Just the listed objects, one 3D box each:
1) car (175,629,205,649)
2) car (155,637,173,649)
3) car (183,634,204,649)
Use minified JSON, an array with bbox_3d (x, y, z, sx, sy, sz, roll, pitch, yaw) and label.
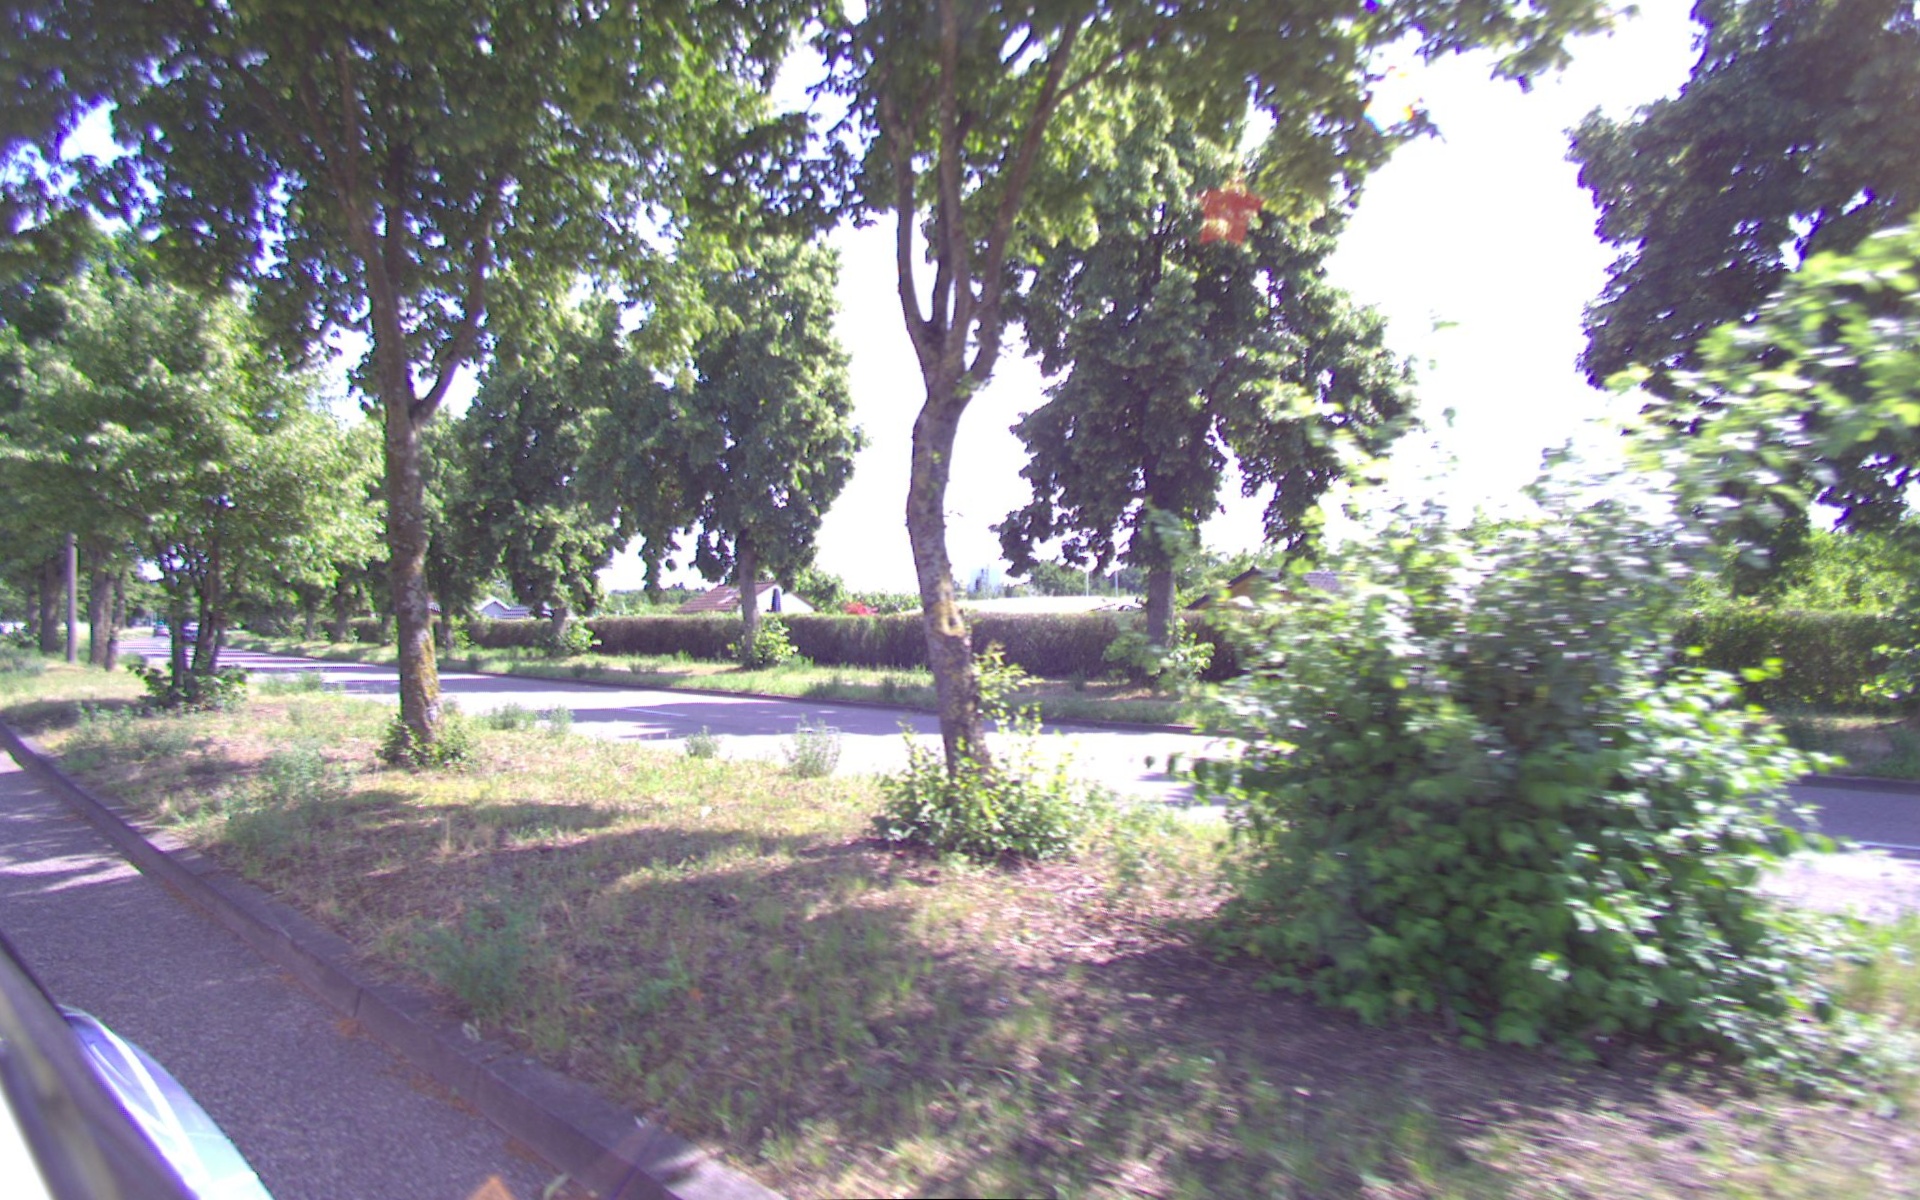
[{"bbox_3d":[-62.739,3.154,82.403,1.715,1.598,4.119,3,-3,-40],"label":"car"},{"bbox_3d":[-104.614,5.678,133.021,1.713,1.598,4.121,2,-3,-36],"label":"car"},{"bbox_3d":[-84.874,4.605,112.090,1.713,1.598,4.121,2,-3,-36],"label":"car"}]
